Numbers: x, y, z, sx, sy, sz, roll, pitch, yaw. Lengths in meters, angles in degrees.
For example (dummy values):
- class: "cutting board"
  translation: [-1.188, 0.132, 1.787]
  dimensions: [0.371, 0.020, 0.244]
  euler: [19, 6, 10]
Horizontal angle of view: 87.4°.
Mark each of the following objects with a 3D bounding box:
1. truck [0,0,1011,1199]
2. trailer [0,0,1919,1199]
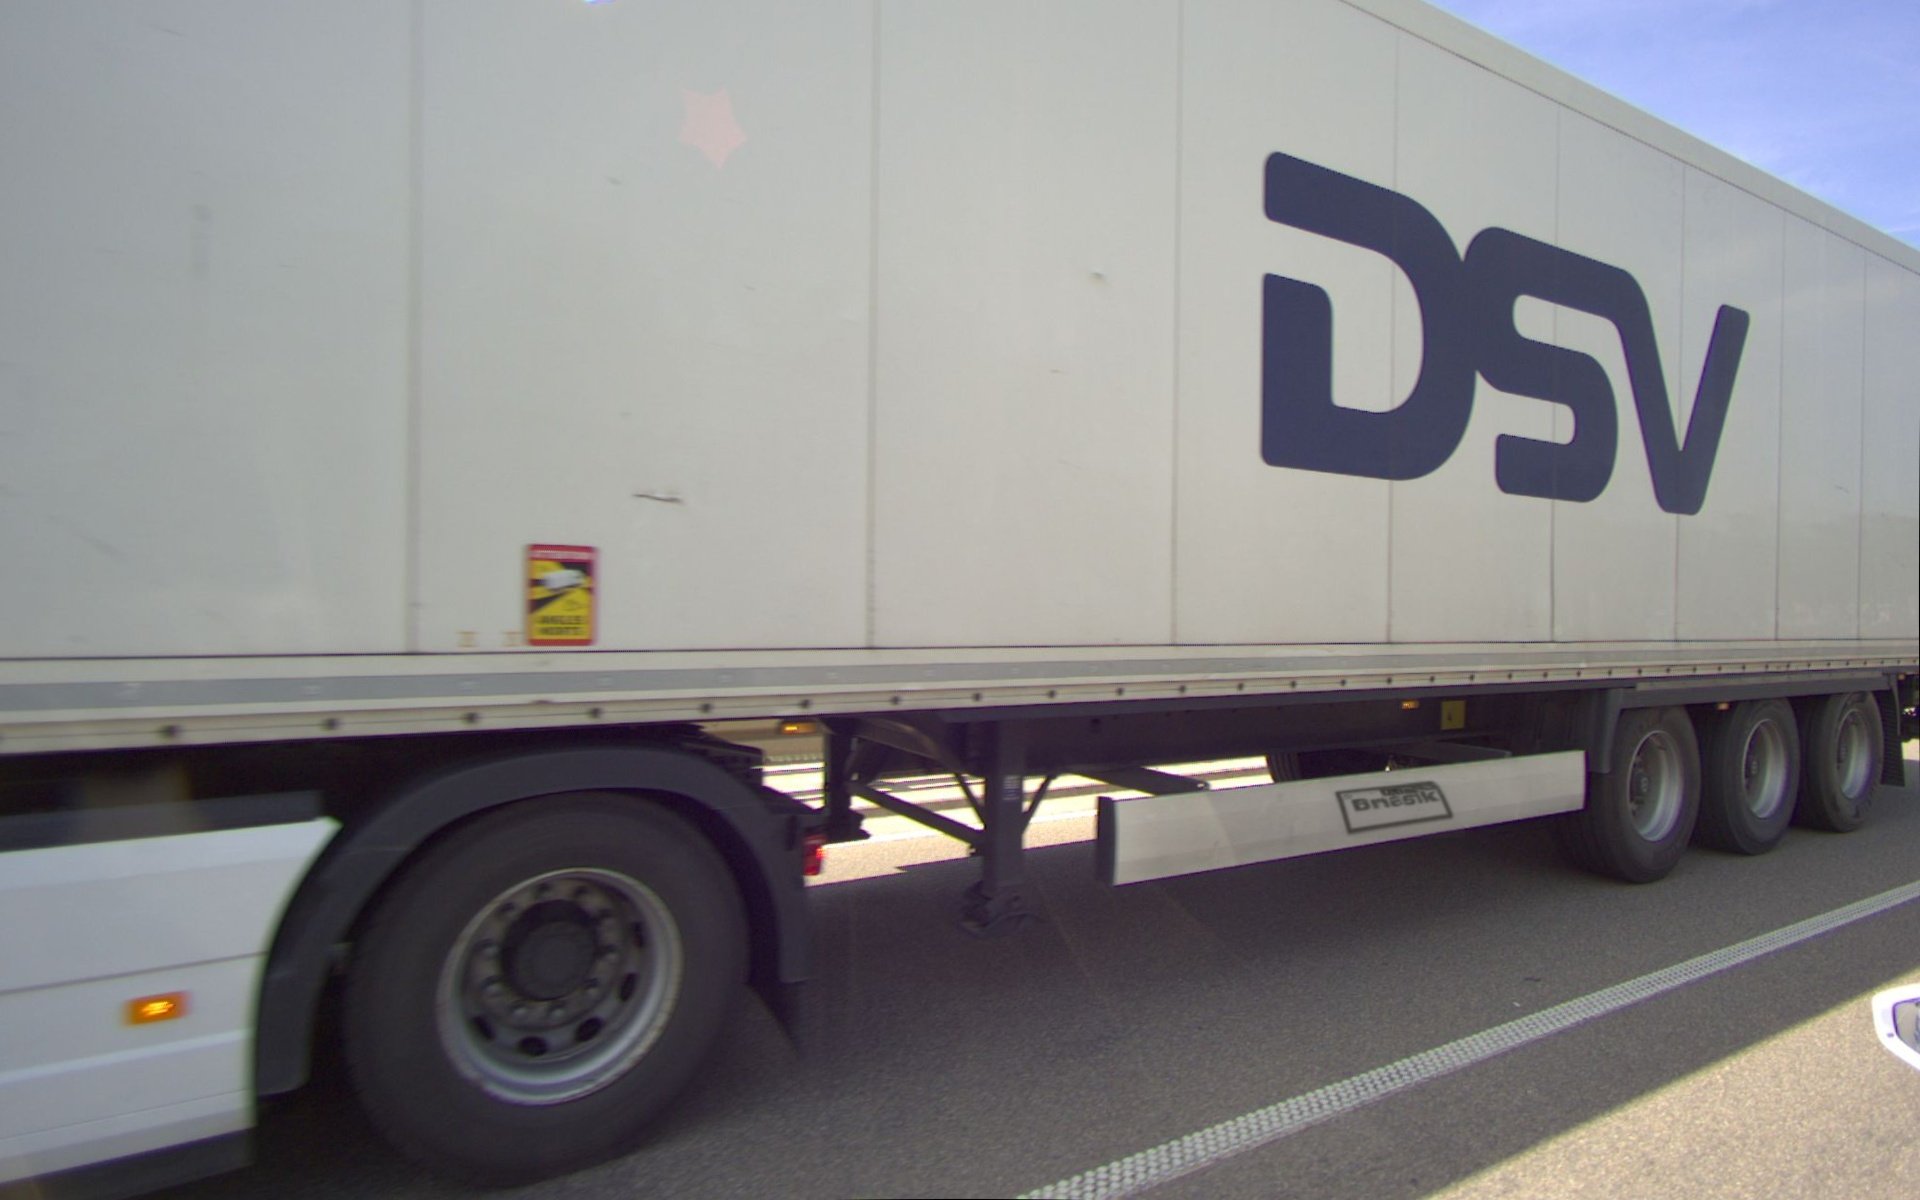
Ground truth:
- class: "truck"
  translation: [-3.238, -0.622, 2.686]
  dimensions: [6.256, 4.216, 2.832]
  euler: [0, 0, -30]
- class: "trailer"
  translation: [2.344, -0.633, 6.029]
  dimensions: [14.328, 4.244, 2.839]
  euler: [0, 1, -31]
